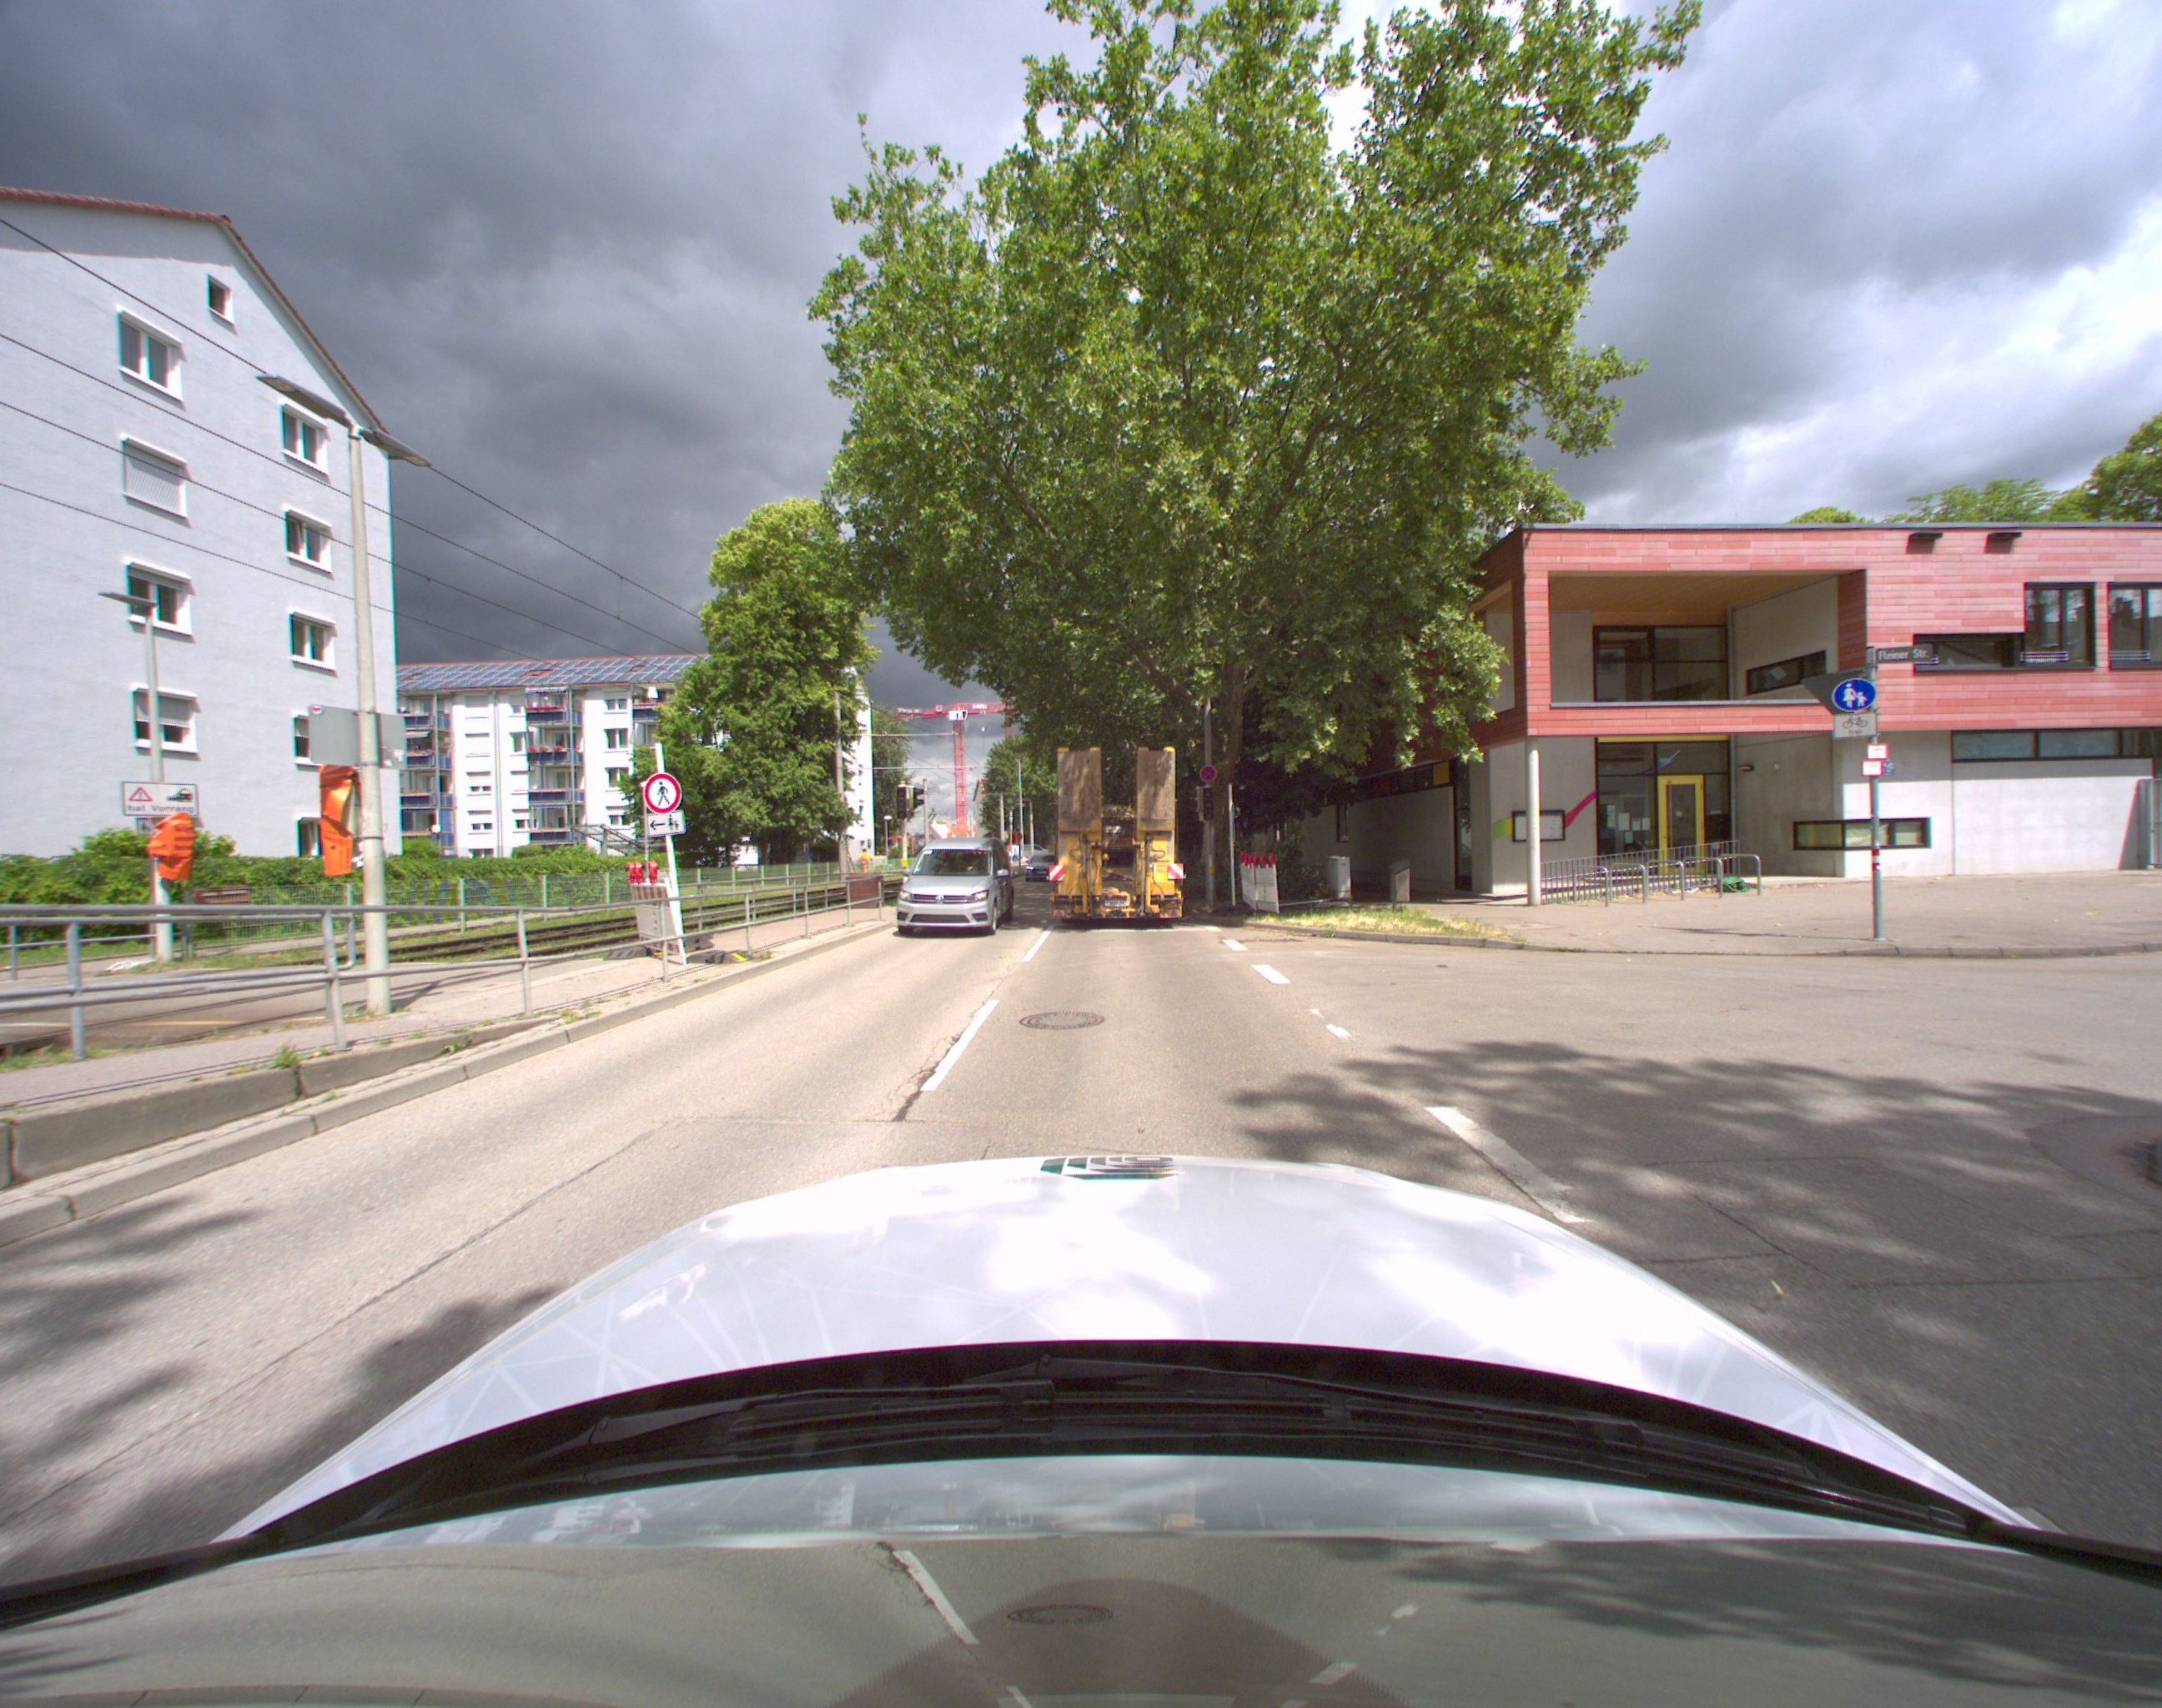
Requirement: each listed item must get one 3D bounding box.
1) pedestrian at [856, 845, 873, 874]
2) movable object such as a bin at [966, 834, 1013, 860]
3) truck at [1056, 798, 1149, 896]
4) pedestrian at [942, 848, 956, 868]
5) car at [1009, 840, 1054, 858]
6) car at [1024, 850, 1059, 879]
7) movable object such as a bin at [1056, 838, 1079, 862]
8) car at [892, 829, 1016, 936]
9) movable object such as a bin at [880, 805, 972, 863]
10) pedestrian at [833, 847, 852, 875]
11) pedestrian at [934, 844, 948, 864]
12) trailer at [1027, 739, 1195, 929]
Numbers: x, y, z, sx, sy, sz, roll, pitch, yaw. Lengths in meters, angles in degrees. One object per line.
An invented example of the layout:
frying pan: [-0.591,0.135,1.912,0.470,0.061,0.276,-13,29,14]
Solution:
pedestrian: [-12.607,0.316,47.364,0.697,1.718,0.867,0,0,2]
movable object such as a bin: [-9.407,-0.719,83.684,4.325,2.629,2.234,-1,0,28]
truck: [0.719,-0.246,30.402,2.979,3.135,7.887,-1,0,0]
pedestrian: [-11.148,0.347,68.837,0.891,1.645,0.829,-1,0,-32]
car: [-5.887,-0.563,96.353,5.094,2.102,1.968,1,0,-13]
car: [-2.006,0.509,42.422,1.630,1.435,3.851,-1,0,0]
movable object such as a bin: [-1.175,-0.350,70.111,1.389,2.013,2.565,0,0,13]
car: [-2.388,0.461,16.410,1.748,1.840,4.646,0,1,0]
movable object such as a bin: [-15.216,-1.836,79.848,9.115,5.414,2.680,-1,0,28]
pedestrian: [-13.694,0.392,46.765,0.729,1.625,0.867,-1,0,2]
pedestrian: [-12.066,-0.017,70.114,0.891,1.645,0.891,-1,0,-30]
trailer: [0.626,-0.398,20.900,3.143,3.552,11.097,-1,0,1]
